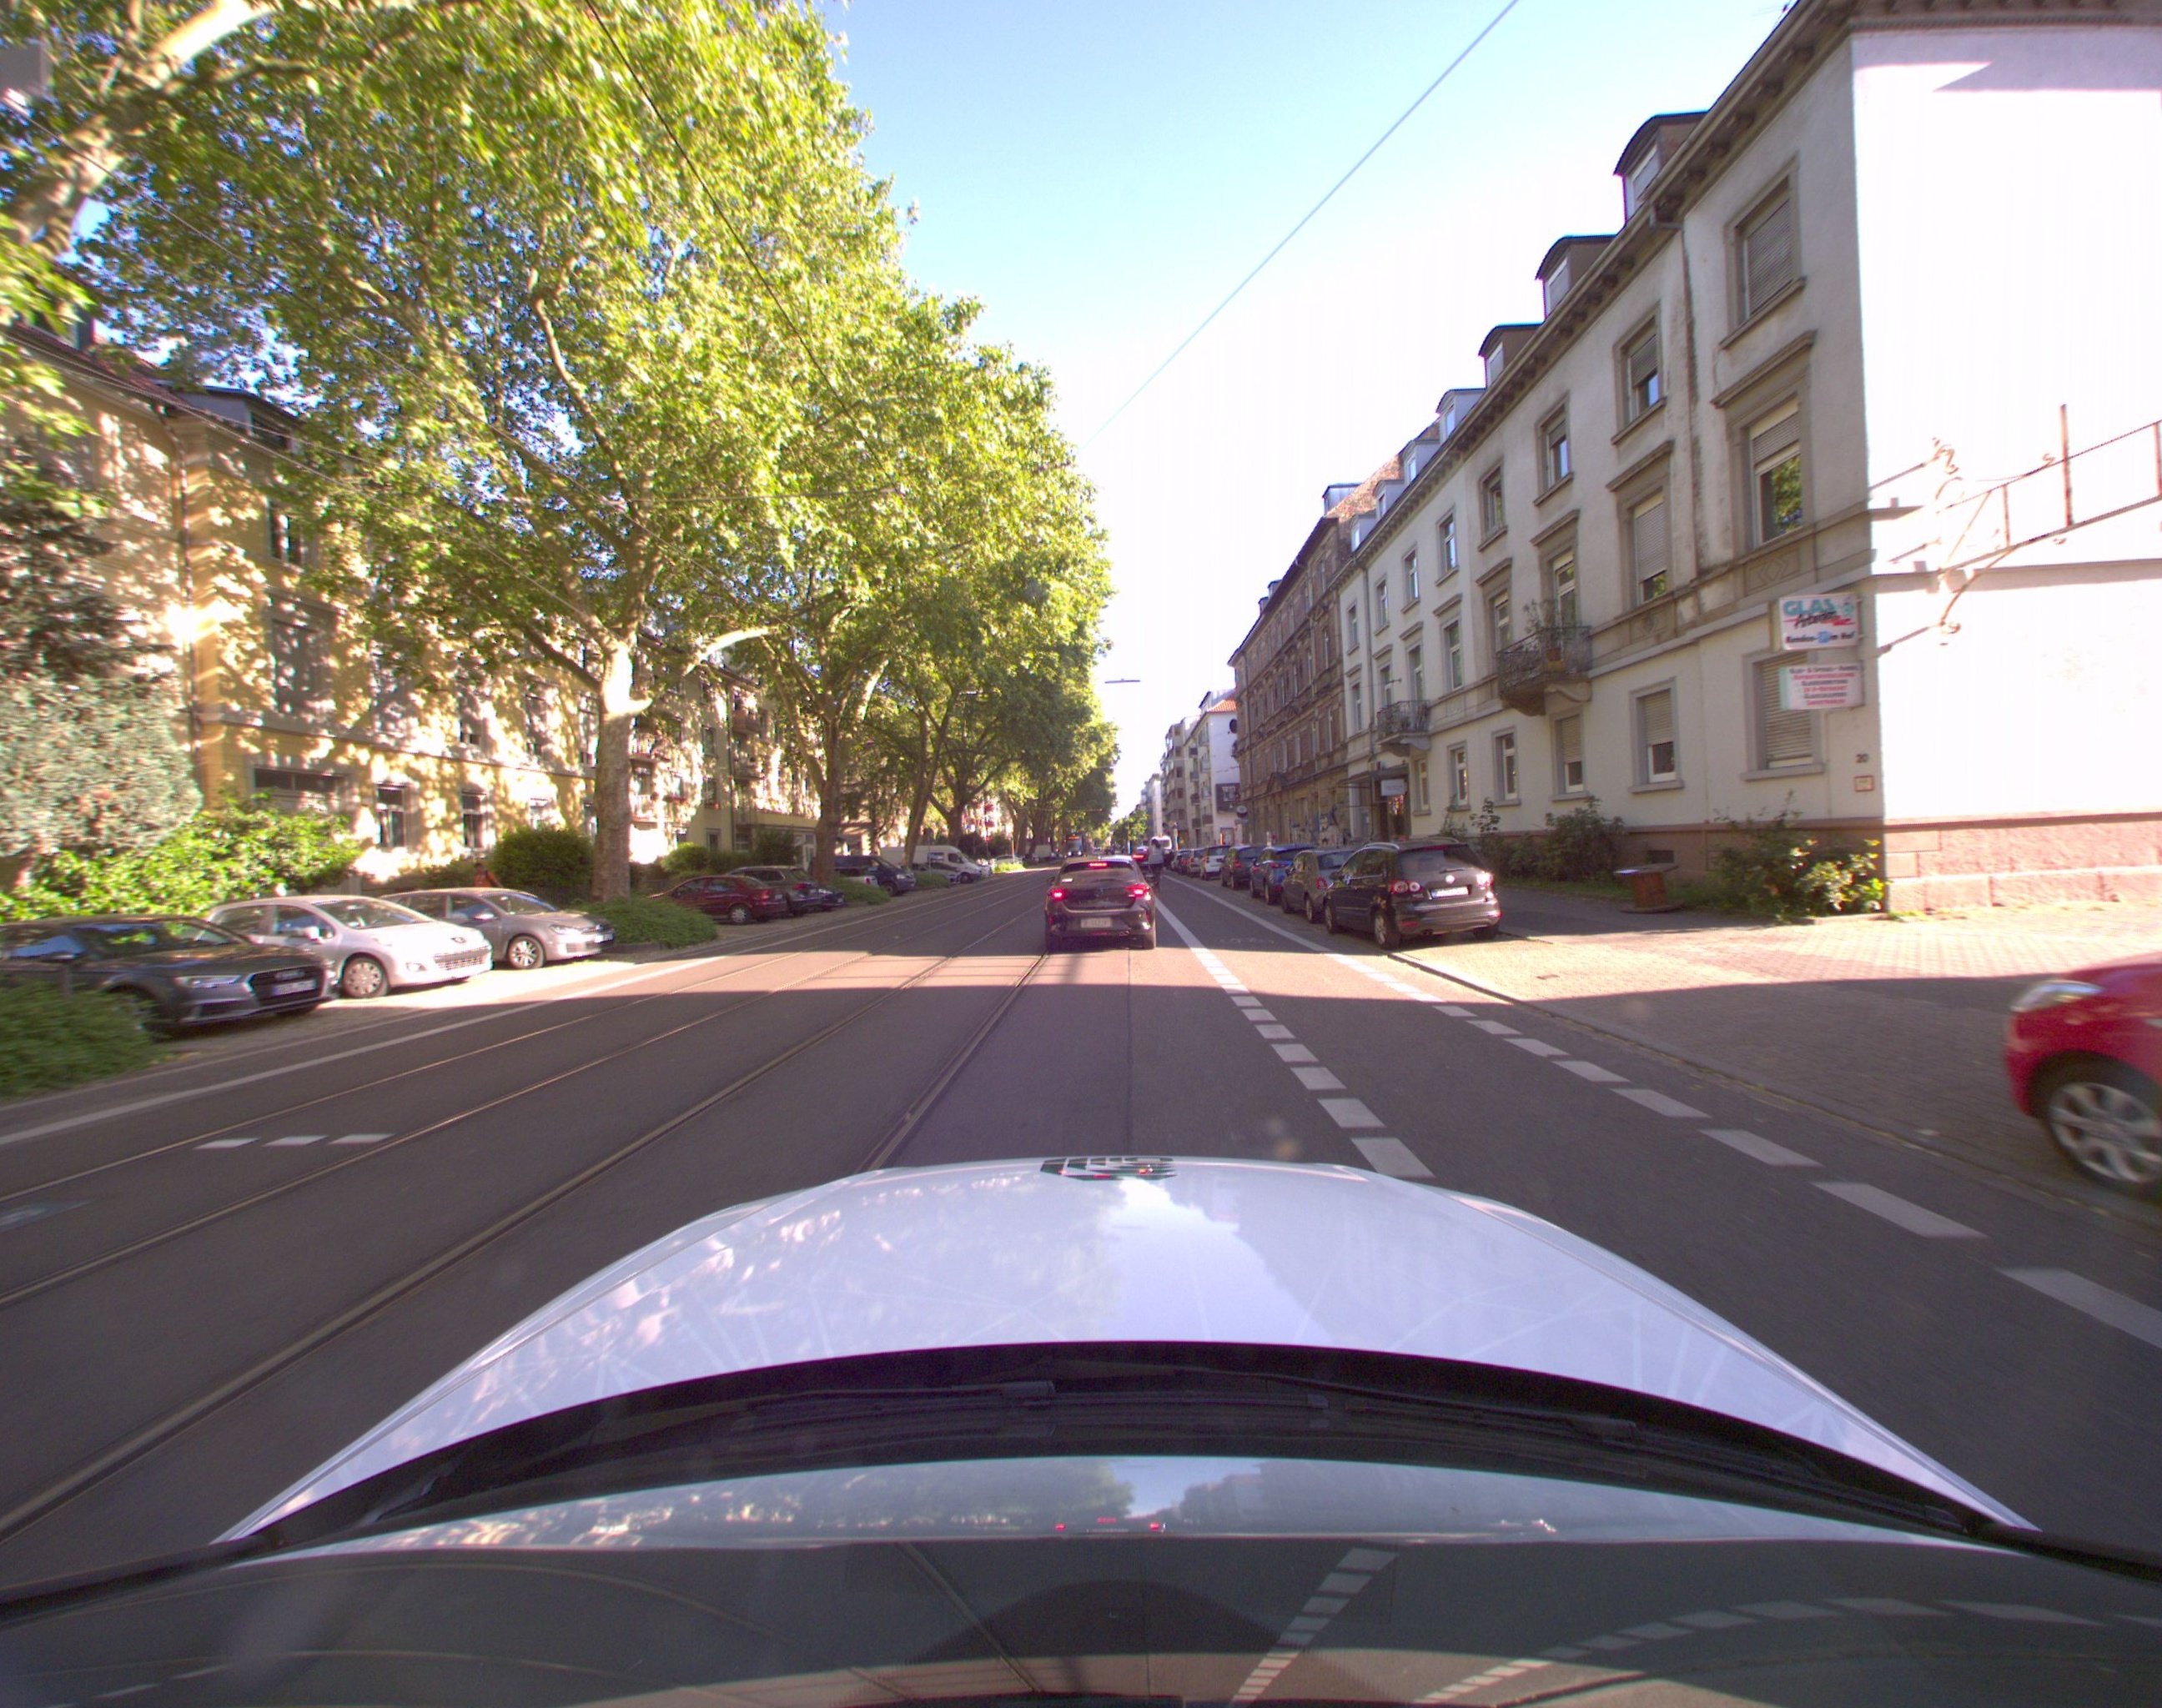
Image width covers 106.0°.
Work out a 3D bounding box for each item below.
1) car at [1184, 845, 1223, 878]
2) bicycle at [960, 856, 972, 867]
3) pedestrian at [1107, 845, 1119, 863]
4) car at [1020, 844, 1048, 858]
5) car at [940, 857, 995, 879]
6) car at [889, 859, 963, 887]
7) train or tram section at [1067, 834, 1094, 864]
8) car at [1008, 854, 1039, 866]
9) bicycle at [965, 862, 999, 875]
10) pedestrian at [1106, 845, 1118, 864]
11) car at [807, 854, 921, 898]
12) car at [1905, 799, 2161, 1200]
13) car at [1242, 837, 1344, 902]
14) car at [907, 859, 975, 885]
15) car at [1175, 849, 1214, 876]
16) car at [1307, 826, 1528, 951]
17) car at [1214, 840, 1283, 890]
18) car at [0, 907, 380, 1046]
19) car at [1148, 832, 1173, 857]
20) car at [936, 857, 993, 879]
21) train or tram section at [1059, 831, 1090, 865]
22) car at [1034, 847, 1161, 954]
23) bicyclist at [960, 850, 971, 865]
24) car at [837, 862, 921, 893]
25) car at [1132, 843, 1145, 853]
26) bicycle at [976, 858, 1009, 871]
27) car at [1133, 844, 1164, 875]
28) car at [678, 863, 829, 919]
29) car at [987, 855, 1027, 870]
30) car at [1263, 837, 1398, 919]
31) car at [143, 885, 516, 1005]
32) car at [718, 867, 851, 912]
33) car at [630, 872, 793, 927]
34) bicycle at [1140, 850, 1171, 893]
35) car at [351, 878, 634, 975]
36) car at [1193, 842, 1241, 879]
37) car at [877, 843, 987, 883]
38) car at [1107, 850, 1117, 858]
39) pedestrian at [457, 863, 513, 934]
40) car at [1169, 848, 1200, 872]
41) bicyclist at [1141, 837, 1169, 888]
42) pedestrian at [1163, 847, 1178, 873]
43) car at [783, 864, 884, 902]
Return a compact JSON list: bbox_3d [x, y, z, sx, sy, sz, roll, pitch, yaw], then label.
[{"bbox_3d":[6.349,0.359,42.653,1.697,1.456,3.703,-6,0,5],"label":"car"},{"bbox_3d":[-13.707,0.879,96.932,0.983,1.169,2.952,-2,0,0],"label":"bicycle"},{"bbox_3d":[2.801,0.015,70.859,0.672,1.567,0.773,-2,0,44],"label":"pedestrian"},{"bbox_3d":[-6.599,-0.419,114.305,3.908,1.790,1.676,-1,0,-1],"label":"car"},{"bbox_3d":[-8.630,1.043,61.939,3.908,1.577,1.676,-1,0,-1],"label":"car"},{"bbox_3d":[-8.952,1.081,47.166,3.903,1.498,1.679,-1,0,3],"label":"car"},{"bbox_3d":[0.088,-0.724,110.511,2.723,3.681,12.727,-3,0,3],"label":"train or tram section"},{"bbox_3d":[-7.405,0.781,104.930,3.908,1.498,1.676,-1,0,-1],"label":"car"},{"bbox_3d":[-9.151,1.344,75.303,2.918,1.169,0.995,-2,0,18],"label":"bicycle"},{"bbox_3d":[2.647,0.023,70.047,0.672,1.567,0.773,-2,0,44],"label":"pedestrian"},{"bbox_3d":[-9.996,0.990,37.757,4.655,1.924,1.982,-1,0,3],"label":"car"},{"bbox_3d":[4.932,0.532,2.309,1.627,1.546,3.579,-4,0,3],"label":"car"},{"bbox_3d":[5.737,0.388,22.522,1.872,1.456,4.029,-6,0,3],"label":"car"},{"bbox_3d":[-8.628,1.099,50.331,3.908,1.498,1.676,-1,0,-1],"label":"car"},{"bbox_3d":[6.512,0.460,46.984,1.802,1.338,3.936,-6,0,3],"label":"car"},{"bbox_3d":[5.333,0.493,13.543,1.875,1.585,3.931,-6,0,-1],"label":"car"},{"bbox_3d":[5.886,0.353,29.005,1.704,1.483,3.767,-6,0,3],"label":"car"},{"bbox_3d":[-11.044,1.385,9.649,3.904,1.332,1.849,-1,0,2],"label":"car"},{"bbox_3d":[7.802,-0.916,80.242,2.067,2.219,4.938,-6,0,3],"label":"car"},{"bbox_3d":[-8.494,1.032,59.467,3.908,1.498,1.676,-1,0,-1],"label":"car"},{"bbox_3d":[-0.687,-0.654,97.892,2.723,3.681,12.727,-3,0,3],"label":"train or tram section"},{"bbox_3d":[0.296,0.661,13.504,1.787,1.441,3.533,-2,1,2],"label":"car"},{"bbox_3d":[-13.742,0.449,96.916,0.984,1.756,1.154,-2,0,0],"label":"bicyclist"},{"bbox_3d":[-9.996,1.170,40.465,3.720,1.430,1.638,-1,0,2],"label":"car"},{"bbox_3d":[9.206,-0.917,130.757,1.802,1.338,3.936,-6,0,3],"label":"car"},{"bbox_3d":[-8.422,1.019,77.406,2.918,1.169,0.995,-2,0,18],"label":"bicycle"},{"bbox_3d":[4.221,0.324,51.317,1.802,1.742,3.936,-3,0,3],"label":"car"},{"bbox_3d":[-10.342,1.157,25.928,3.979,1.627,1.880,-1,0,1],"label":"car"},{"bbox_3d":[-7.628,0.888,83.895,3.908,1.498,1.676,-1,0,-1],"label":"car"},{"bbox_3d":[5.388,0.484,18.088,1.792,1.456,3.769,-6,0,1],"label":"car"},{"bbox_3d":[-11.123,1.306,12.261,3.907,1.453,1.801,-2,0,1],"label":"car"},{"bbox_3d":[-10.255,1.221,28.332,3.907,1.421,1.818,-1,0,0],"label":"car"},{"bbox_3d":[-10.661,1.289,23.688,3.904,1.442,1.750,-1,0,2],"label":"car"},{"bbox_3d":[2.622,0.588,28.816,0.857,1.407,2.524,-2,0,1],"label":"bicycle"},{"bbox_3d":[-10.789,1.294,15.131,3.904,1.462,1.807,-3,0,2],"label":"car"},{"bbox_3d":[6.230,0.294,37.598,1.562,1.517,3.040,-6,0,0],"label":"car"},{"bbox_3d":[-9.578,0.574,52.859,6.602,2.409,2.459,-1,0,2],"label":"car"},{"bbox_3d":[5.595,0.028,147.834,1.803,1.338,3.933,-2,0,1],"label":"car"},{"bbox_3d":[-16.143,1.196,22.069,0.863,1.849,0.836,-2,0,-5],"label":"pedestrian"},{"bbox_3d":[6.774,0.374,53.709,1.655,1.419,3.936,-6,0,3],"label":"car"},{"bbox_3d":[2.608,0.286,28.813,0.845,1.740,1.162,-2,0,1],"label":"bicyclist"},{"bbox_3d":[5.635,0.378,51.270,0.862,1.567,0.769,-2,0,3],"label":"pedestrian"},{"bbox_3d":[-10.522,1.230,34.843,3.720,1.498,1.747,-1,0,2],"label":"car"}]
